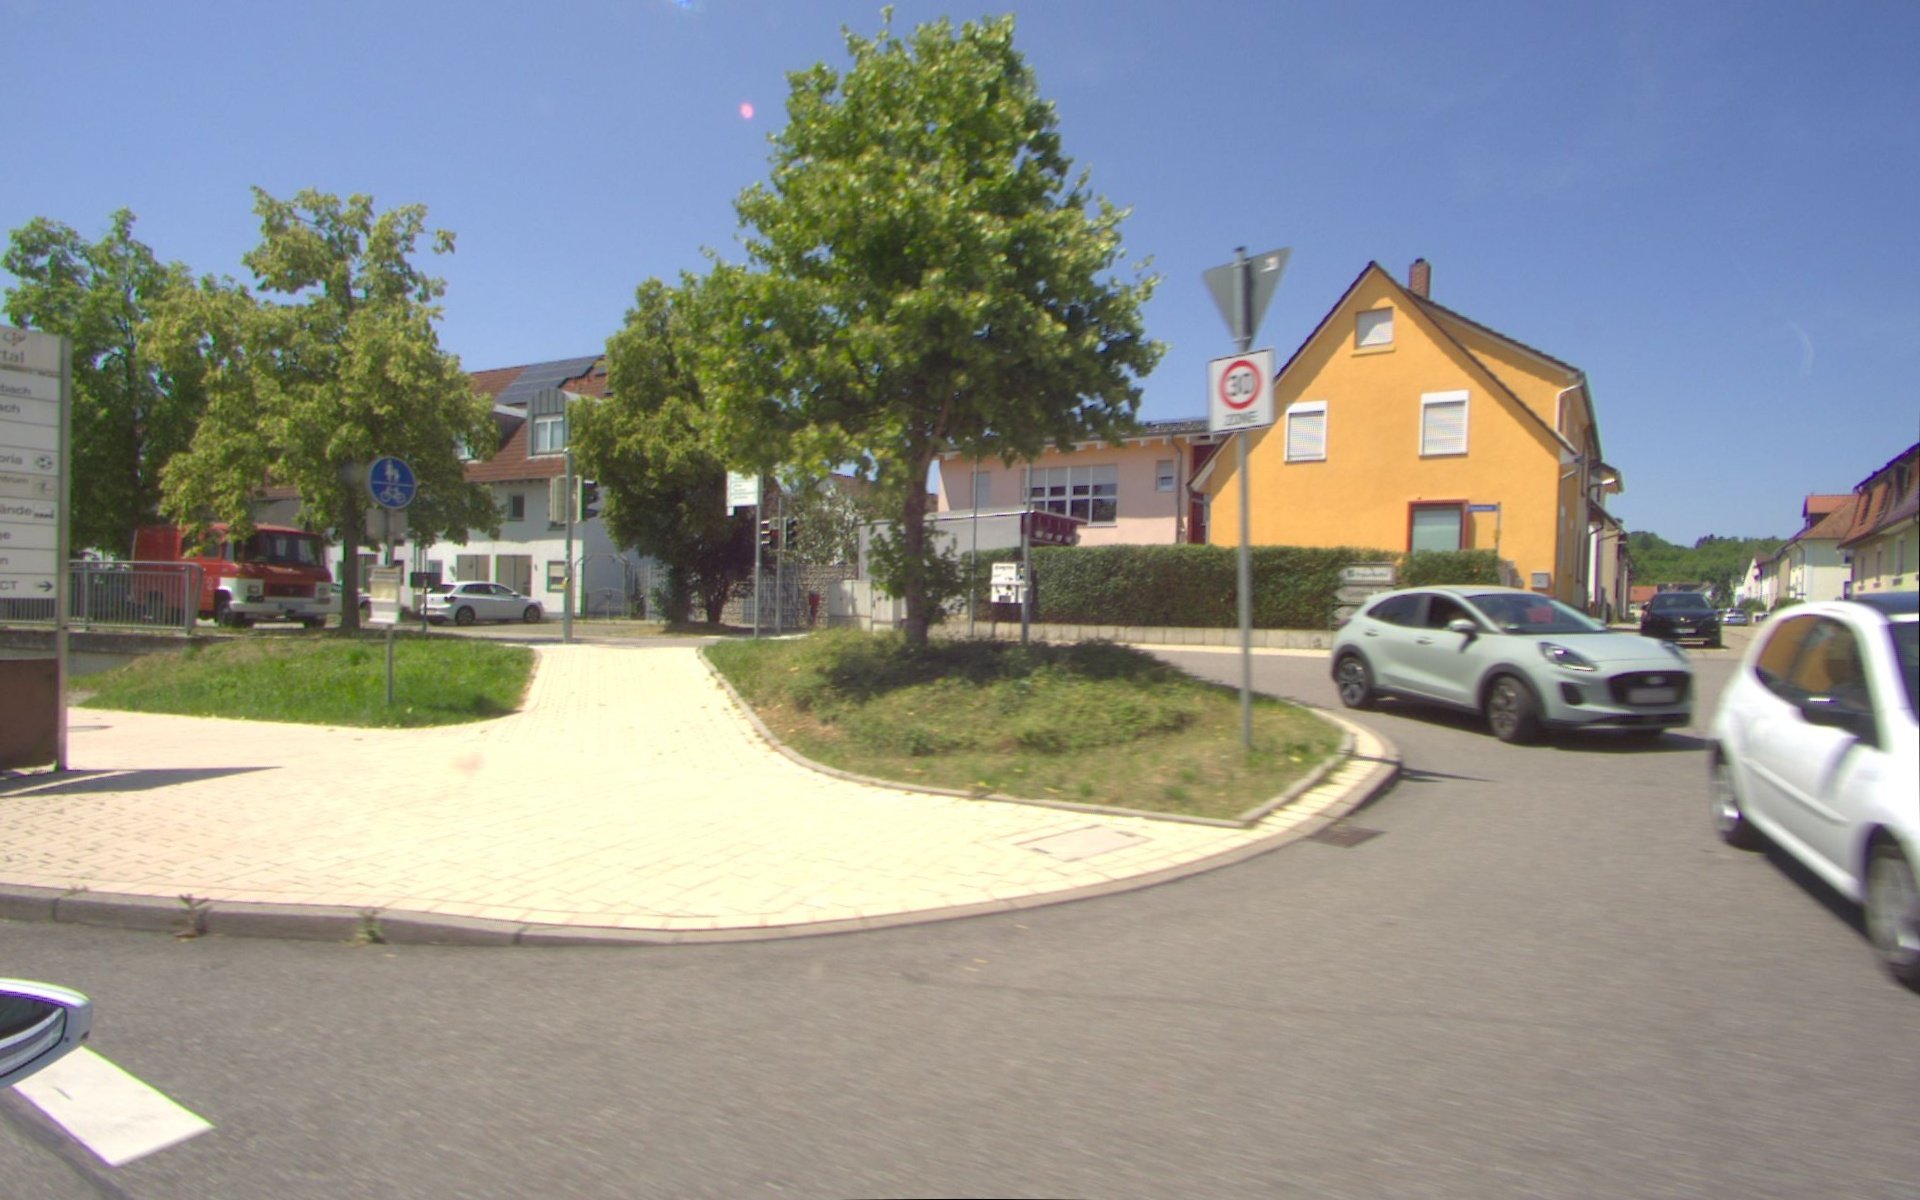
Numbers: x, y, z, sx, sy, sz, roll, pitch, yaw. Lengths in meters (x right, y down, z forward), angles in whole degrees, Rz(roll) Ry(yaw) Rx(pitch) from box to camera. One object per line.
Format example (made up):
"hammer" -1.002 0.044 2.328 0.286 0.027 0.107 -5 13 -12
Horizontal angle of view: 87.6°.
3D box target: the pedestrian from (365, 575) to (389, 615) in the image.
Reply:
"pedestrian" -22.969 -0.207 39.476 0.603 1.532 0.740 0 2 -14

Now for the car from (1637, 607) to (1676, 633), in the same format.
"car" 45.549 1.273 65.537 1.972 1.617 3.977 0 0 34

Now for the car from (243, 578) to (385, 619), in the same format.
"car" -25.139 -0.083 39.131 1.731 1.510 4.400 1 1 29

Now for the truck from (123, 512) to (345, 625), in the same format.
"truck" -16.834 -0.669 23.173 5.178 2.365 2.131 1 0 29

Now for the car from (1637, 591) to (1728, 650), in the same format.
"car" 21.149 0.573 29.447 1.972 1.617 3.977 0 0 34

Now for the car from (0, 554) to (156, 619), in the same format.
"car" -23.131 -0.321 25.349 1.722 1.518 3.982 1 -1 30

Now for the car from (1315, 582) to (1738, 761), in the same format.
"car" 5.882 0.599 11.075 1.743 1.557 4.119 -1 2 -13

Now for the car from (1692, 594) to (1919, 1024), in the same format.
"car" 4.742 0.721 4.422 1.747 1.498 3.669 0 0 25

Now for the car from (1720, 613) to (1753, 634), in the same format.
"car" 62.295 1.850 80.403 1.812 1.617 3.862 0 0 34

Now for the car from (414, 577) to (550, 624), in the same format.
"car" -16.259 -0.004 34.230 1.731 1.498 3.932 1 1 29

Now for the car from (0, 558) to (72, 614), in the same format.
"car" -27.236 -0.418 27.333 1.660 1.518 4.200 1 -1 30
